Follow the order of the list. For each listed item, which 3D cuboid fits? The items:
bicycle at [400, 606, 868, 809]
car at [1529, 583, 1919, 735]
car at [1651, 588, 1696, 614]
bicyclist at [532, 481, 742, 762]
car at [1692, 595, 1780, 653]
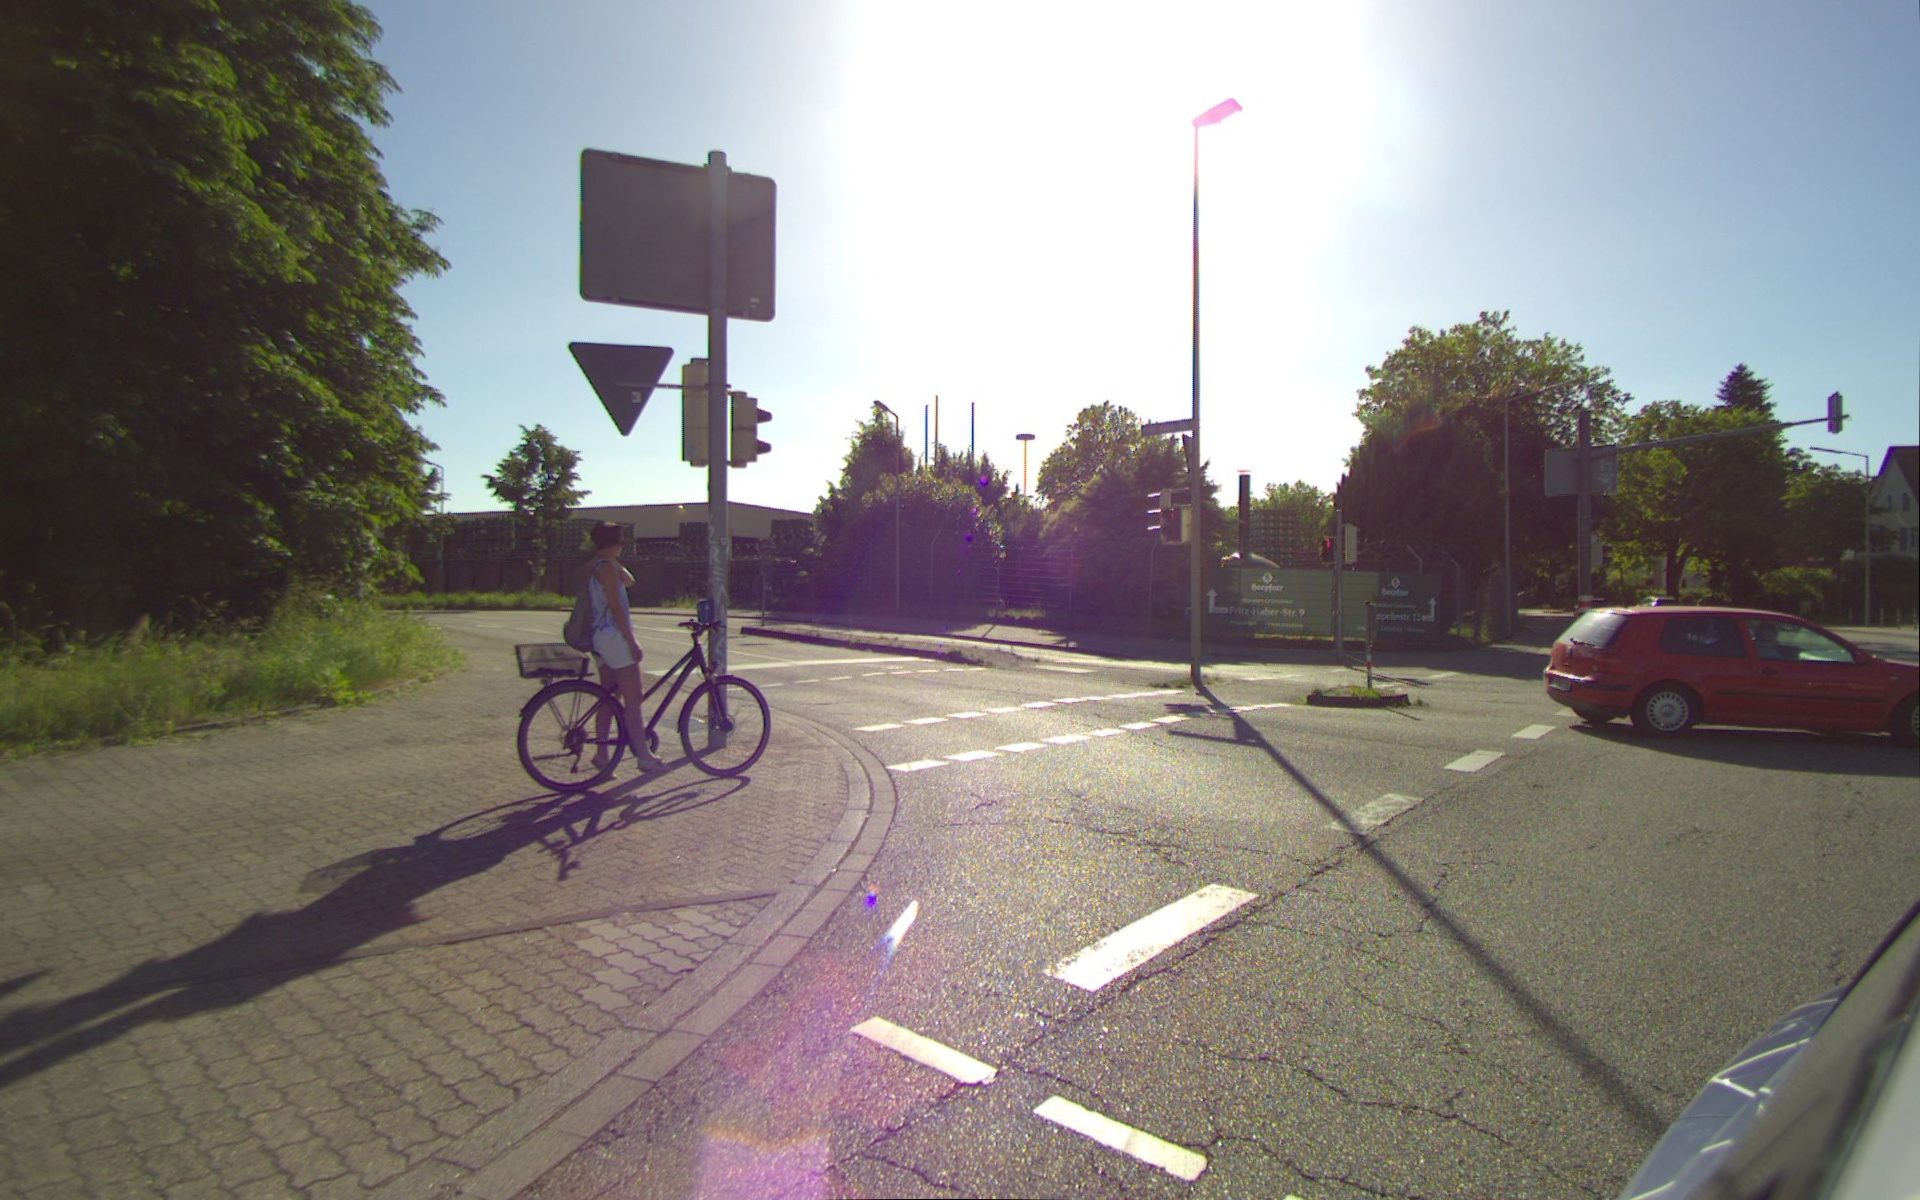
[{"bbox_3d":[-2.126,0.623,6.875,2.894,1.140,0.904,1,-1,-31],"label":"bicycle"},{"bbox_3d":[9.022,0.596,11.431,4.072,1.488,1.858,1,1,10],"label":"car"},{"bbox_3d":[47.203,0.053,67.004,1.845,1.655,4.216,1,0,27],"label":"car"},{"bbox_3d":[-2.190,0.134,6.850,1.166,1.714,0.893,1,-1,-31],"label":"bicyclist"},{"bbox_3d":[22.824,0.652,29.900,1.798,1.551,4.459,0,1,34],"label":"car"}]
